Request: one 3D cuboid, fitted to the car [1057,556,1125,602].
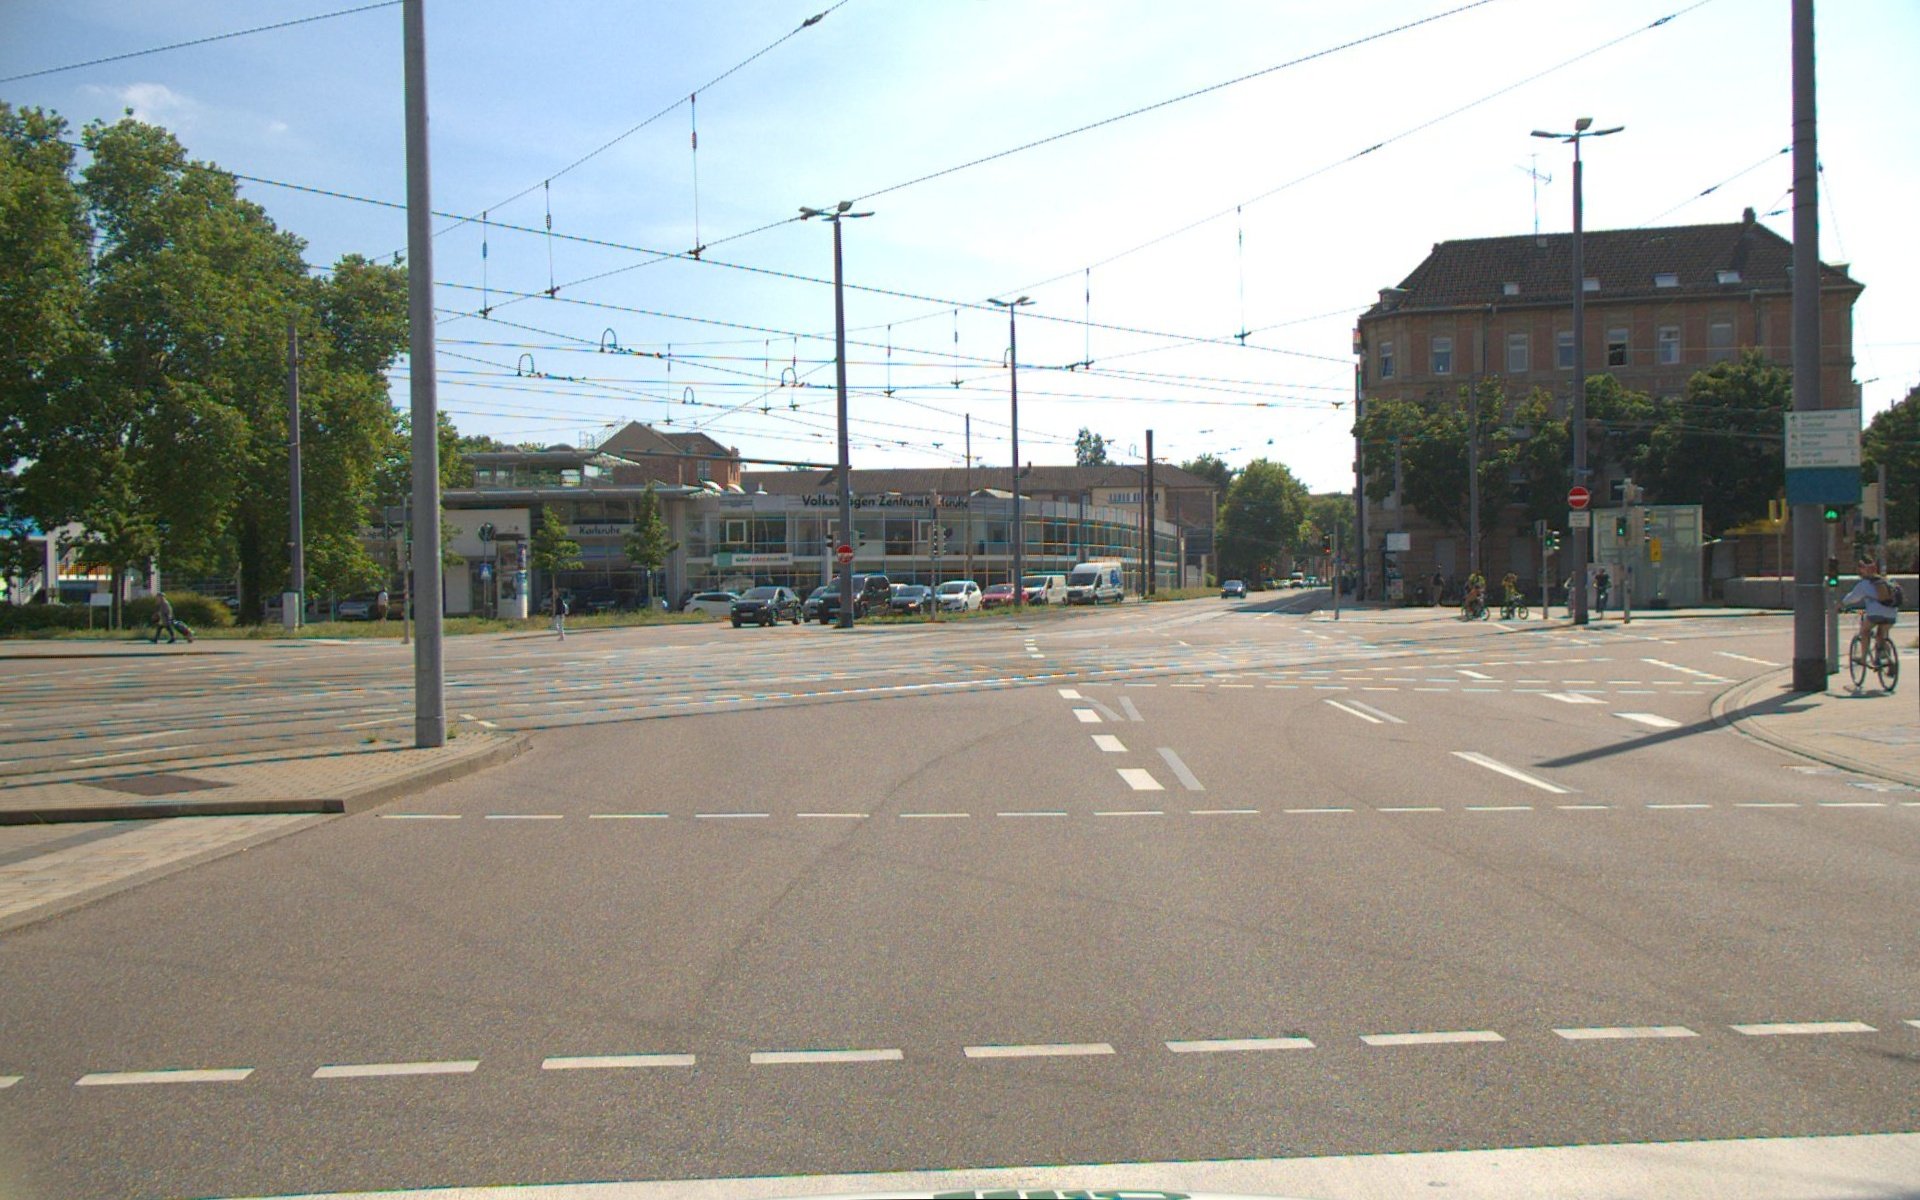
[{"bbox_3d":[7.957,-1.246,99.731,2.165,2.620,5.870,1,0,25],"label":"car"}]

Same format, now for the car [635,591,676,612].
[{"bbox_3d":[-18.331,0.110,99.682,1.793,1.216,3.998,1,0,-2],"label":"car"}]

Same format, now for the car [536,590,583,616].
[{"bbox_3d":[-24.188,0.186,100.010,1.953,1.512,3.998,1,0,-2],"label":"car"}]

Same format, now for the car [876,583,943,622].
[{"bbox_3d":[-2.142,0.116,71.100,1.854,1.615,4.003,-1,-1,13],"label":"car"}]

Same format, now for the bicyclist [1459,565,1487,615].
[{"bbox_3d":[19.316,-0.360,62.329,0.907,1.852,1.053,1,-1,13],"label":"bicyclist"}]

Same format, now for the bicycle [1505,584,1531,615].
[{"bbox_3d":[20.779,-0.023,61.625,0.907,1.088,2.842,1,1,18],"label":"bicycle"}]

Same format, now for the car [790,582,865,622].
[{"bbox_3d":[-5.636,0.094,70.696,1.854,1.615,4.002,-1,-1,16],"label":"car"}]

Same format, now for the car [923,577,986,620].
[{"bbox_3d":[-0.231,-0.044,78.422,1.854,1.950,4.203,-1,-1,16],"label":"car"}]

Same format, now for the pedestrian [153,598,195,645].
[{"bbox_3d":[-24.059,0.651,50.650,1.098,1.428,0.652,1,-1,-23],"label":"pedestrian"}]

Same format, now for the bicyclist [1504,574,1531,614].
[{"bbox_3d":[20.792,-0.223,61.704,0.907,1.477,1.252,1,1,18],"label":"bicyclist"}]

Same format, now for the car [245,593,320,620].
[{"bbox_3d":[-42.647,0.401,104.161,3.907,1.579,1.999,-1,0,-3],"label":"car"}]

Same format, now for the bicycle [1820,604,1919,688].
[{"bbox_3d":[12.483,0.594,22.478,0.699,1.033,2.022,-3,0,7],"label":"bicycle"}]

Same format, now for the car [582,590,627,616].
[{"bbox_3d":[-21.460,0.178,100.023,1.953,1.512,3.998,1,0,-2],"label":"car"}]

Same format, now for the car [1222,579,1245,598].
[{"bbox_3d":[22.150,-0.940,133.902,1.355,1.439,3.013,1,0,18],"label":"car"}]

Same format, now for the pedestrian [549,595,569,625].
[{"bbox_3d":[-21.619,0.529,89.198,0.934,1.607,0.534,1,-1,-4],"label":"pedestrian"}]

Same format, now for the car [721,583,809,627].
[{"bbox_3d":[-7.472,0.206,63.857,1.851,1.615,4.213,-1,-1,16],"label":"car"}]

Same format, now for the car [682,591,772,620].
[{"bbox_3d":[-12.292,0.299,87.303,4.487,1.461,1.445,1,0,13],"label":"car"}]

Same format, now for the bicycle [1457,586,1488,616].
[{"bbox_3d":[19.357,0.033,62.507,0.907,1.088,2.749,1,0,13],"label":"bicycle"}]

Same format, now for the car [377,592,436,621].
[{"bbox_3d":[-33.675,0.394,100.702,1.951,1.713,4.002,1,0,4],"label":"car"}]

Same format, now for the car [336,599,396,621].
[{"bbox_3d":[-35.984,0.576,100.271,1.951,1.266,4.002,1,0,4],"label":"car"}]

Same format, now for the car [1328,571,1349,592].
[{"bbox_3d":[38.064,-1.850,166.263,2.063,2.049,4.004,-1,1,13],"label":"car"}]

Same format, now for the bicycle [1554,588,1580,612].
[{"bbox_3d":[22.814,-0.013,62.131,0.489,0.881,1.588,1,1,4],"label":"bicycle"}]

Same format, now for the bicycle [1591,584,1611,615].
[{"bbox_3d":[23.798,-0.029,61.422,0.653,1.088,2.463,1,1,22],"label":"bicycle"}]

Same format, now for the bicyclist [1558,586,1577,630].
[{"bbox_3d":[22.801,0.300,62.118,0.489,1.649,0.650,1,0,4],"label":"bicyclist"}]

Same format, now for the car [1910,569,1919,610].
[{"bbox_3d":[39.422,-0.437,64.869,3.929,1.611,1.628,-1,0,-21],"label":"car"}]

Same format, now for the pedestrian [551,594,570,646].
[{"bbox_3d":[-12.783,0.645,52.980,0.449,1.633,0.395,1,-1,-37],"label":"pedestrian"}]

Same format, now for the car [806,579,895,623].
[{"bbox_3d":[-4.196,-0.003,64.155,1.919,1.615,4.719,-1,1,16],"label":"car"}]

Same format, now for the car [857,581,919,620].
[{"bbox_3d":[-3.363,0.048,78.053,1.616,1.769,4.203,-1,-1,16],"label":"car"}]

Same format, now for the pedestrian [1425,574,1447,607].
[{"bbox_3d":[21.335,-0.414,74.147,0.608,1.458,0.703,1,-1,-38],"label":"pedestrian"}]

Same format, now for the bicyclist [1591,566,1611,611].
[{"bbox_3d":[23.651,-0.419,61.037,0.653,1.652,0.782,1,1,22],"label":"bicyclist"}]

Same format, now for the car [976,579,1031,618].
[{"bbox_3d":[2.265,-0.066,85.358,1.854,1.950,4.203,-1,-1,16],"label":"car"}]

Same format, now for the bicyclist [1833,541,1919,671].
[{"bbox_3d":[12.448,0.080,22.471,0.699,1.698,0.875,-3,0,7],"label":"bicyclist"}]

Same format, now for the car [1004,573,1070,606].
[{"bbox_3d":[4.354,-0.596,92.481,2.140,1.710,5.029,-1,0,22],"label":"car"}]

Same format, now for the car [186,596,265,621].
[{"bbox_3d":[-44.865,0.519,101.083,3.906,1.395,1.999,1,0,-1],"label":"car"}]

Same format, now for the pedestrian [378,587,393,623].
[{"bbox_3d":[-26.023,0.242,74.893,0.384,1.624,0.464,1,-1,23],"label":"pedestrian"}]
